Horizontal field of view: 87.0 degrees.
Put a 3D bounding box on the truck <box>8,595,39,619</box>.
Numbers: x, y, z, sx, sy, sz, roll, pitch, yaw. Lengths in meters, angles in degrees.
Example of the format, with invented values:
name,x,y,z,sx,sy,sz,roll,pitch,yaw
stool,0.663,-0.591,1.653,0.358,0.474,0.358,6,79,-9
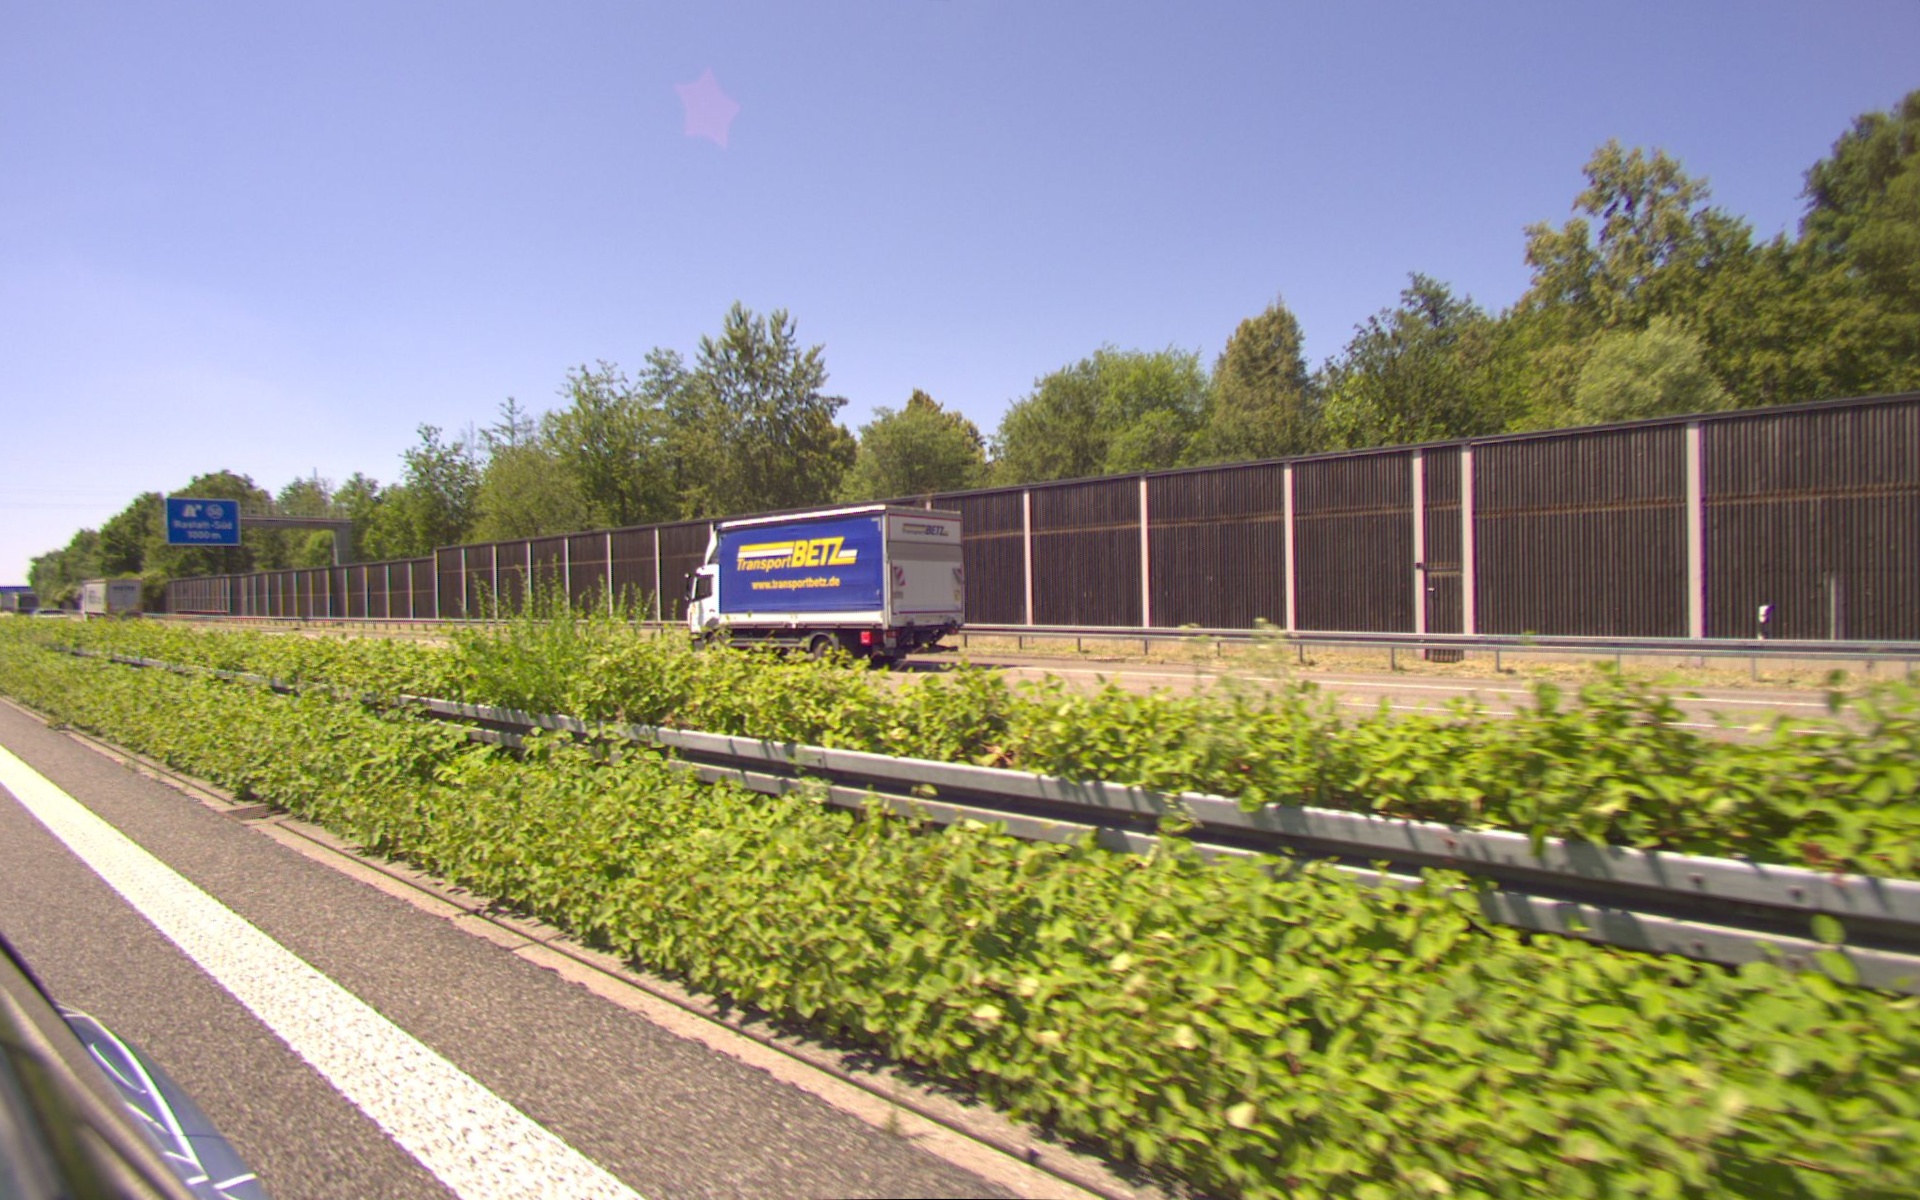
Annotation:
name,x,y,z,sx,sy,sz,roll,pitch,yaw
truck,-145.314,1.107,157.039,9.952,3.632,2.839,-1,0,43

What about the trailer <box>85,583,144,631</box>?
name,x,y,z,sx,sy,sz,roll,pitch,yaw
trailer,-77.453,0.685,92.565,13.652,4.167,2.457,-1,0,43

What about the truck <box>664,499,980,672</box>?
name,x,y,z,sx,sy,sz,roll,pitch,yaw
truck,-3.740,-0.256,25.297,8.741,3.637,2.803,-1,-1,41

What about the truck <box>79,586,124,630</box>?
name,x,y,z,sx,sy,sz,roll,pitch,yaw
truck,-82.501,0.757,97.217,6.369,4.097,2.493,-1,0,42

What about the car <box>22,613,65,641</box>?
name,x,y,z,sx,sy,sz,roll,pitch,yaw
car,-54.991,1.592,60.682,4.000,1.600,1.566,-1,0,43
